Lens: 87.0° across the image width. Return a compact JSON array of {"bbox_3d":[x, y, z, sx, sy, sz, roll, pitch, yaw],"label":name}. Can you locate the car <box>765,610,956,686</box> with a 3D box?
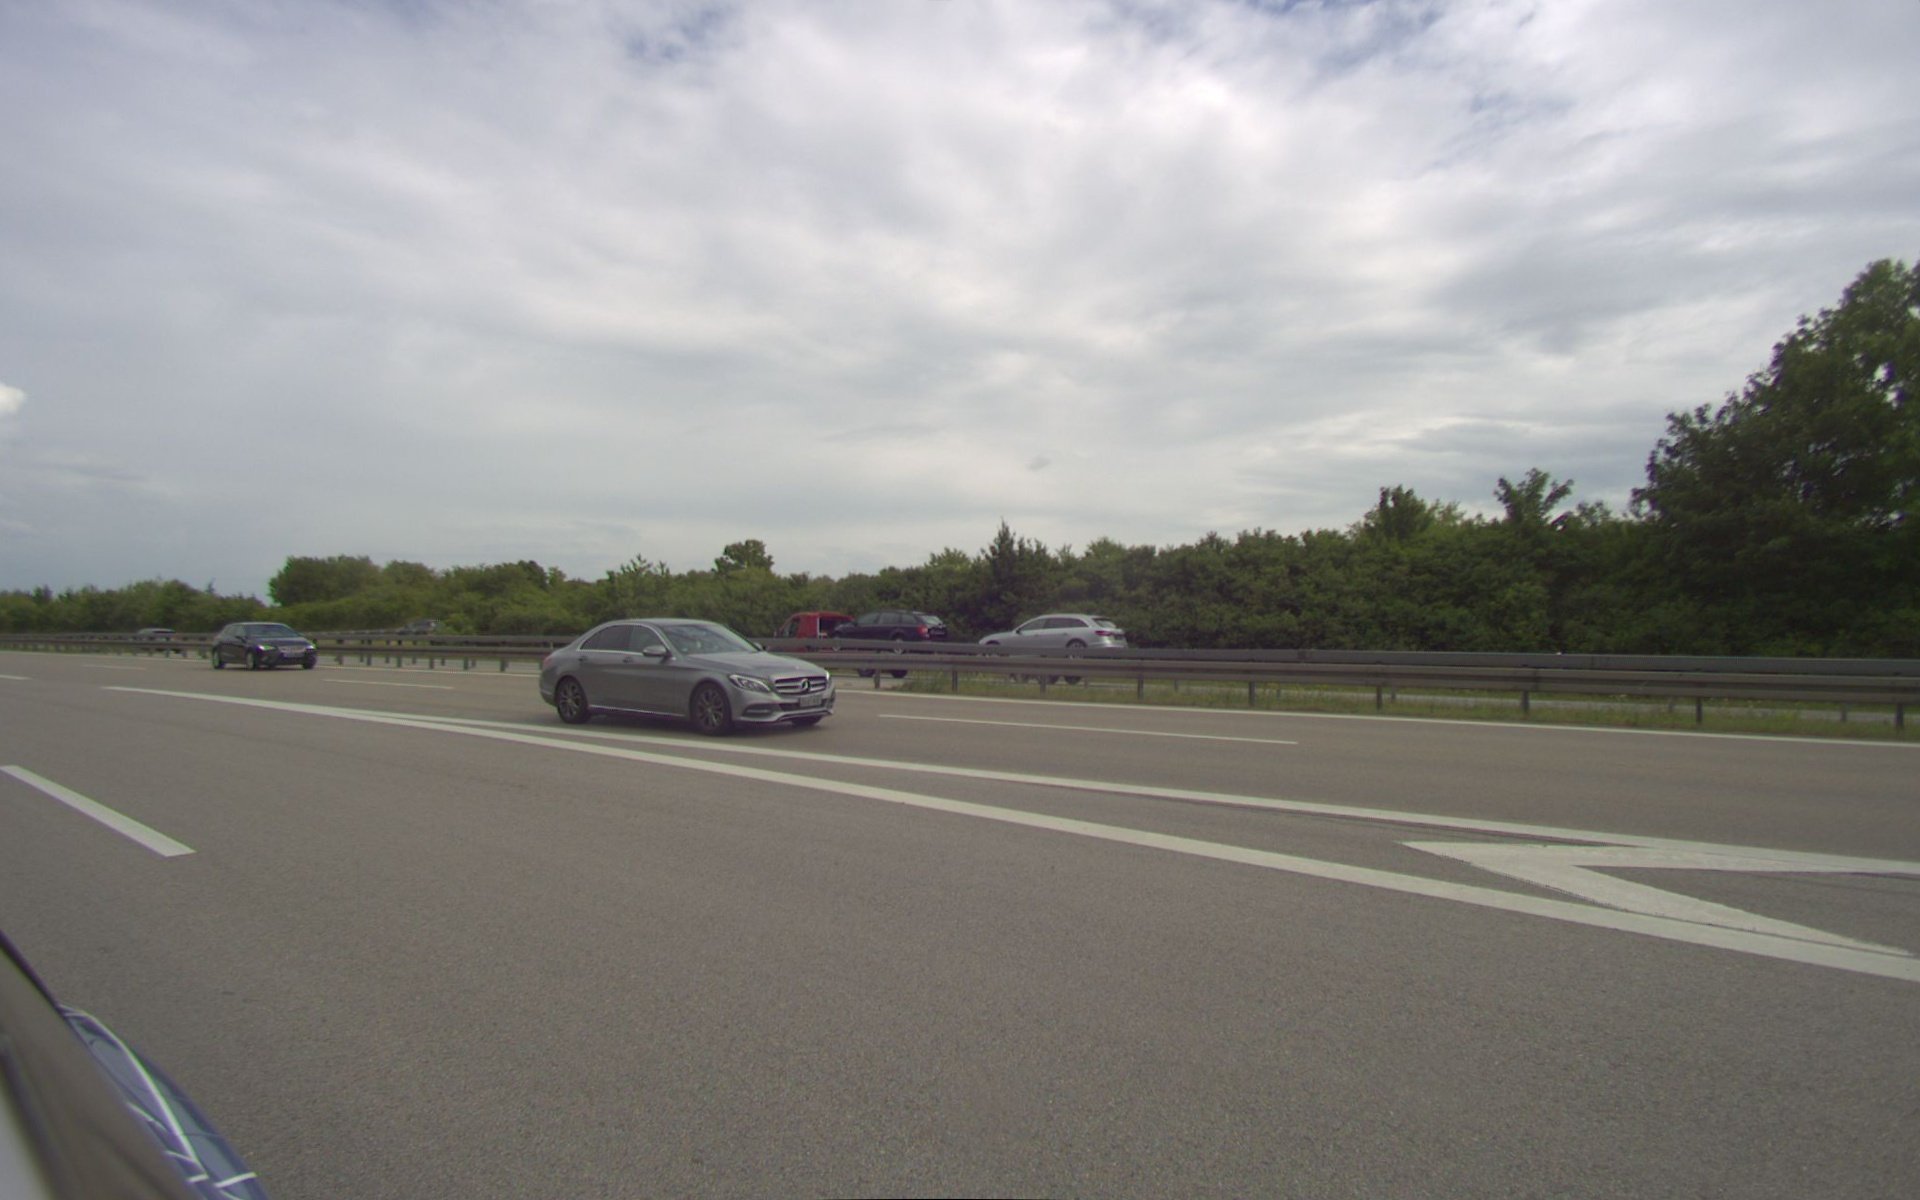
[{"bbox_3d":[-3.457,1.582,34.271,6.660,2.348,2.144,-1,-2,35],"label":"car"}]

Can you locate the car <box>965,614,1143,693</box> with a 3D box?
[{"bbox_3d":[2.738,1.536,30.072,4.862,2.149,2.144,-1,-2,34],"label":"car"}]

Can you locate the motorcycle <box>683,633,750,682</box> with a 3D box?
[{"bbox_3d":[-7.670,1.774,31.815,2.390,1.455,0.652,-1,0,35],"label":"motorcycle"}]

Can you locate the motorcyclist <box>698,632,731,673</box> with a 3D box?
[{"bbox_3d":[-7.726,1.640,31.847,0.821,1.262,0.652,-1,0,35],"label":"motorcyclist"}]

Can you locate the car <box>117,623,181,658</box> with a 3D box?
[{"bbox_3d":[-47.801,2.359,59.620,3.992,2.029,1.976,-1,-2,36],"label":"car"}]

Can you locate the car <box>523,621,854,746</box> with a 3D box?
[{"bbox_3d":[-3.692,0.999,13.426,4.540,1.409,1.764,-1,-2,35],"label":"car"}]

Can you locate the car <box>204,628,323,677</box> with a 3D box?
[{"bbox_3d":[-21.643,1.588,31.390,4.298,1.409,1.763,-1,-2,37],"label":"car"}]
